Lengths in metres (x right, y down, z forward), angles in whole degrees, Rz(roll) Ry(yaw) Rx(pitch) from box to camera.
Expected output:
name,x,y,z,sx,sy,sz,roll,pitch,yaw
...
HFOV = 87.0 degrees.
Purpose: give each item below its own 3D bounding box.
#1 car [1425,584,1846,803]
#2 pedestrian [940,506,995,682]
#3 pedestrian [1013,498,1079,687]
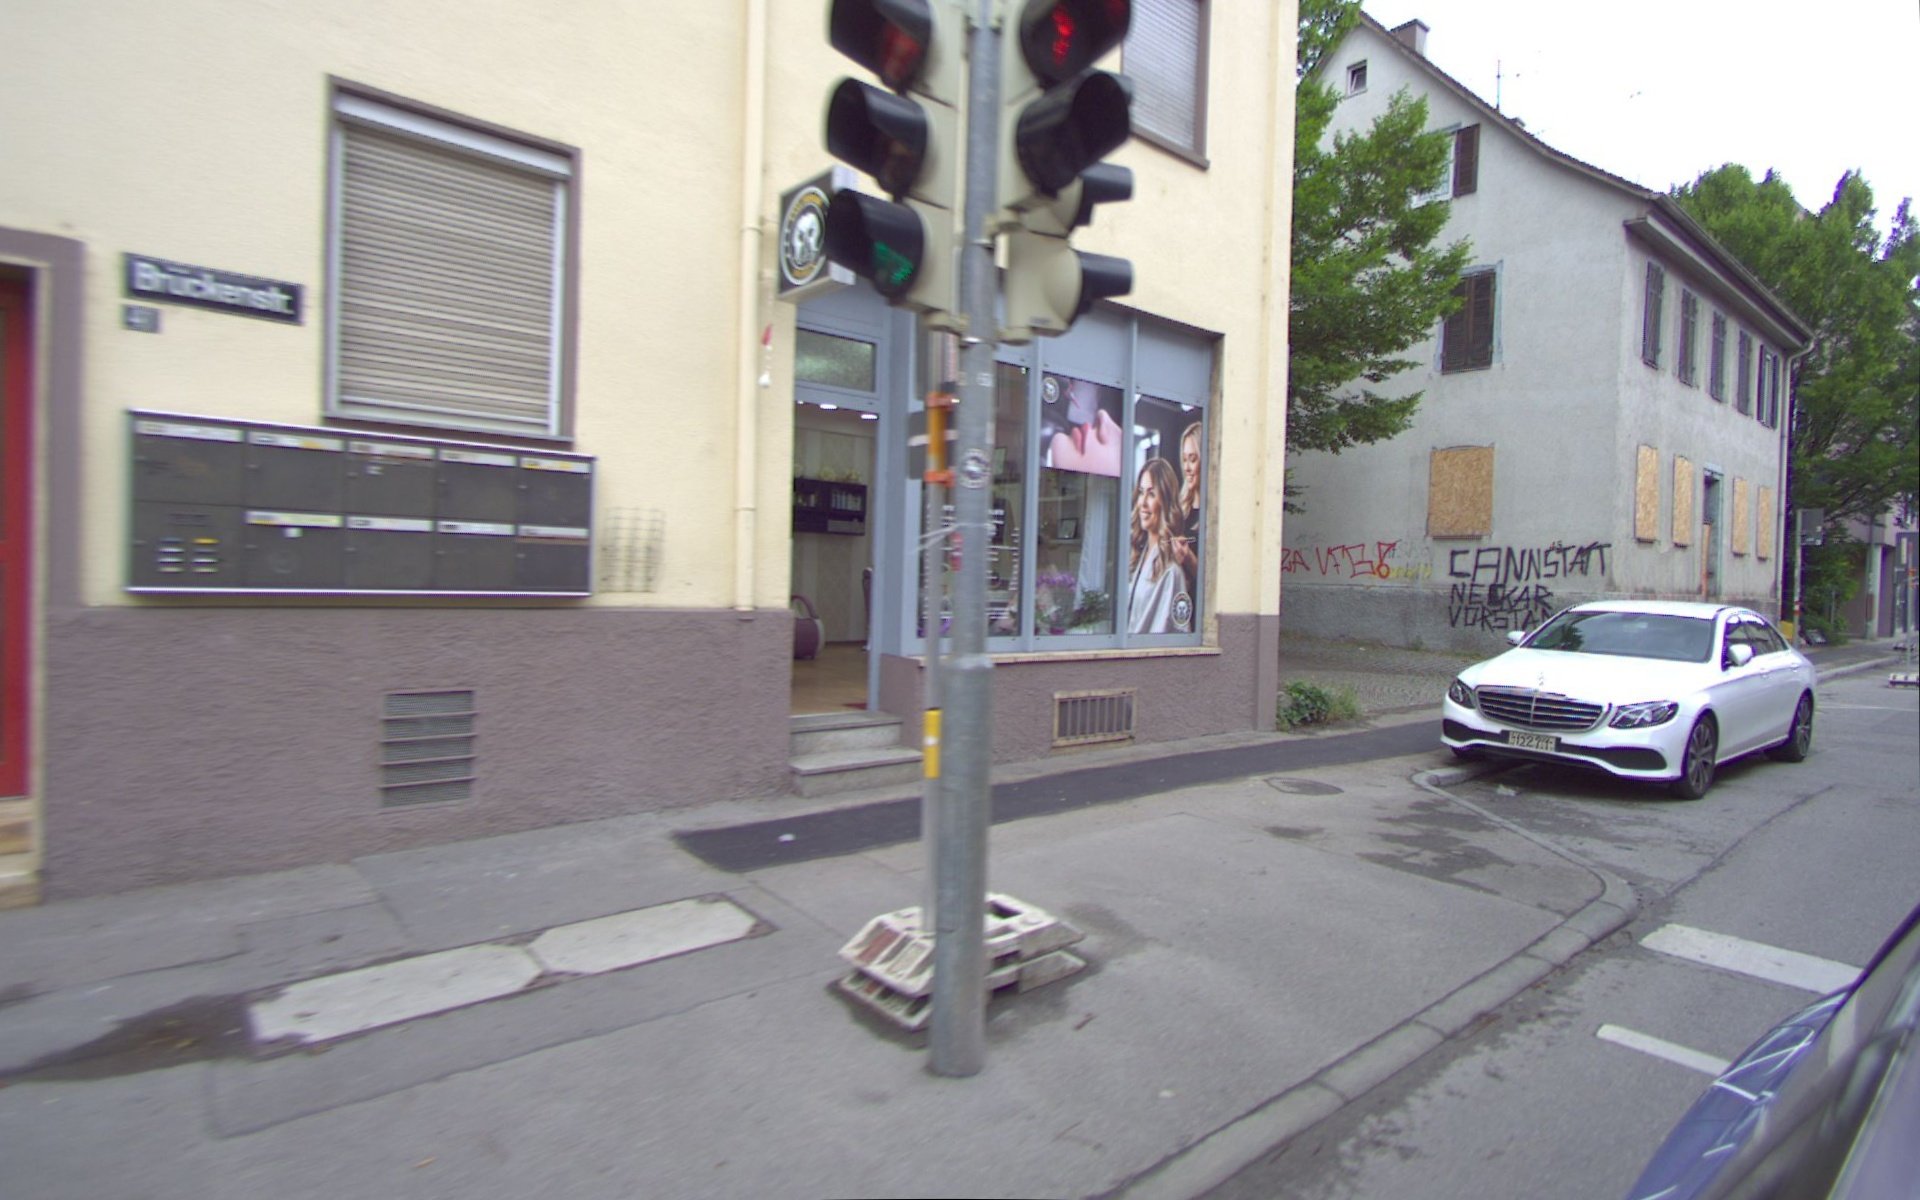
name,x,y,z,sx,sy,sz,roll,pitch,yaw
car,6.279,0.627,9.178,4.695,1.484,1.772,0,2,-38
pedestrian,0.066,-0.058,9.191,0.351,1.550,0.373,-1,1,-38
pedestrian,0.723,-0.068,8.533,0.412,1.550,0.373,-1,1,-38
